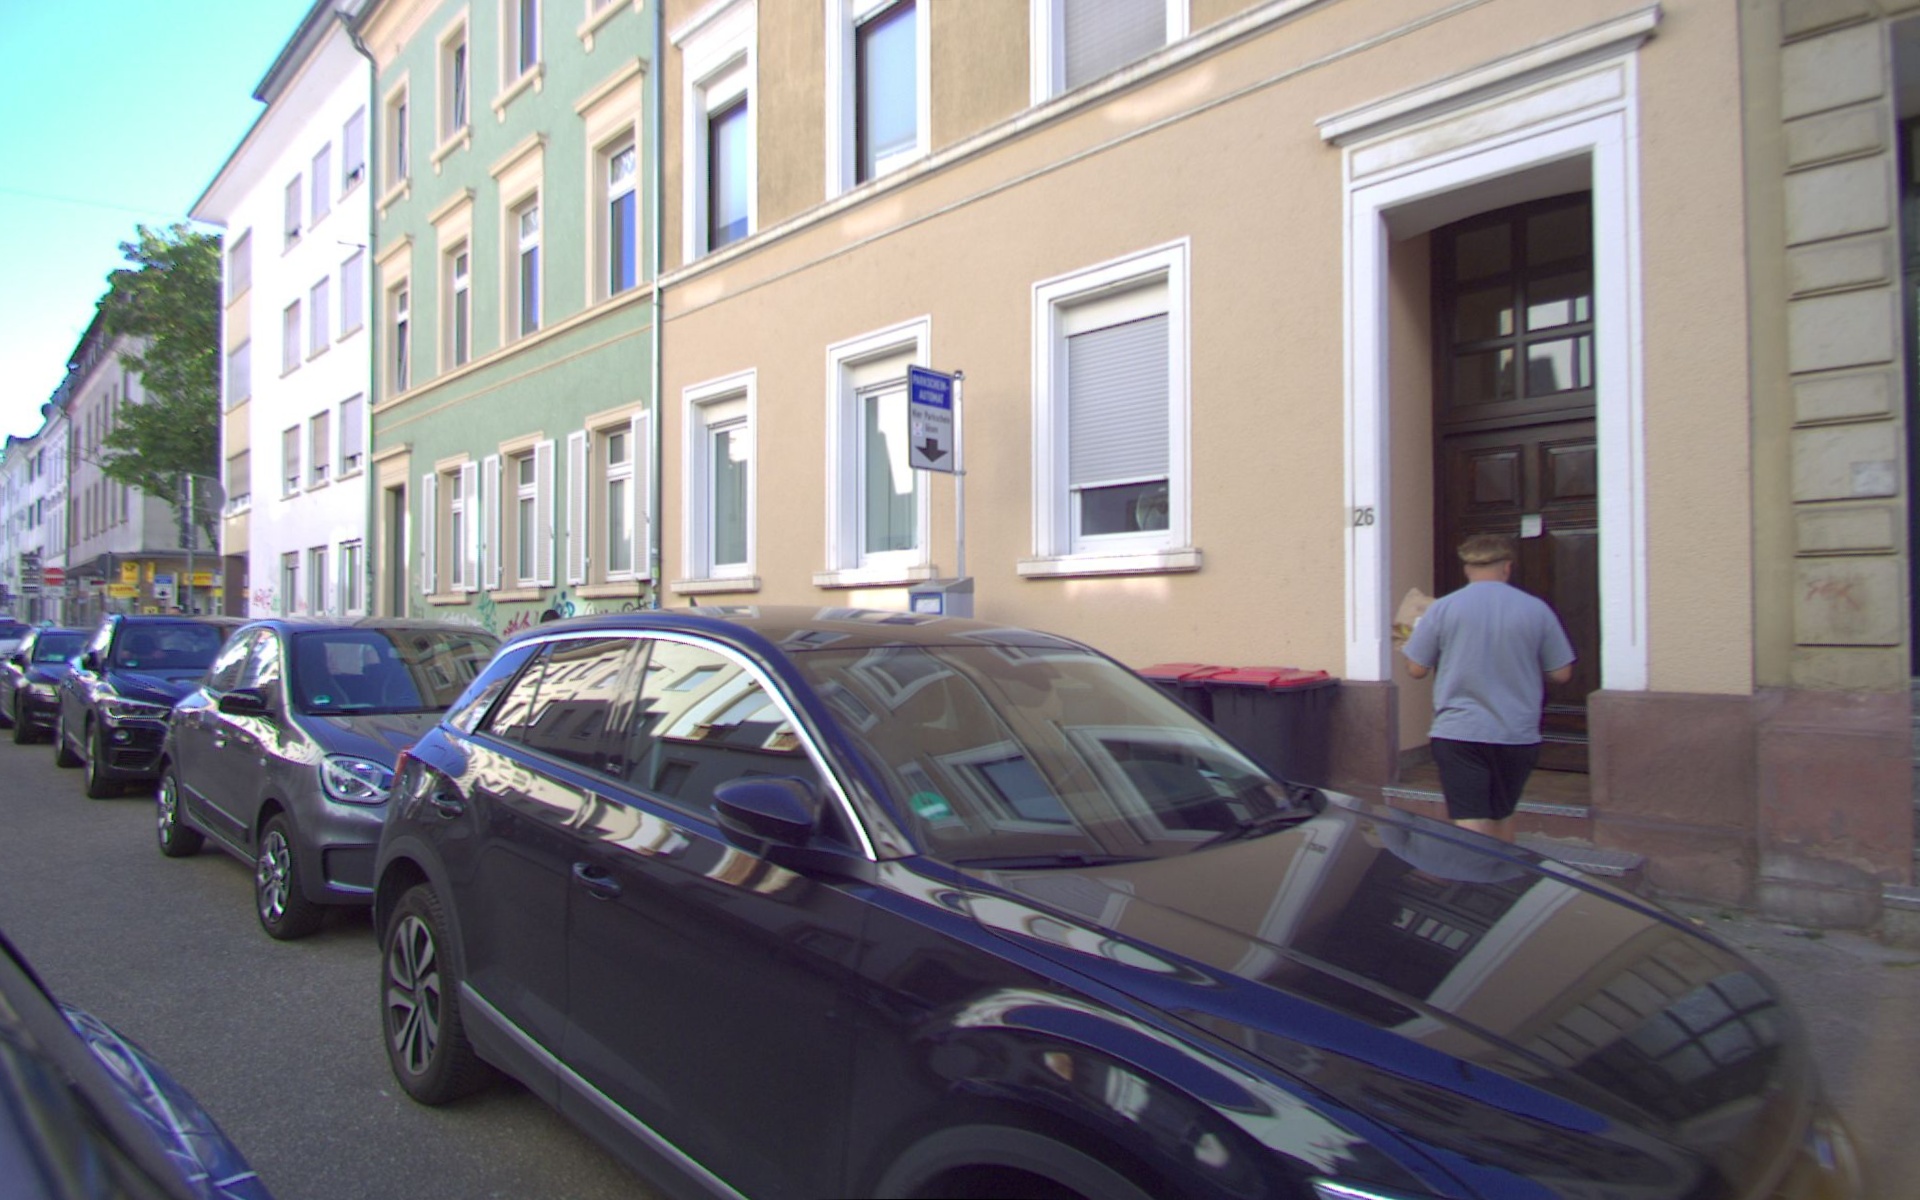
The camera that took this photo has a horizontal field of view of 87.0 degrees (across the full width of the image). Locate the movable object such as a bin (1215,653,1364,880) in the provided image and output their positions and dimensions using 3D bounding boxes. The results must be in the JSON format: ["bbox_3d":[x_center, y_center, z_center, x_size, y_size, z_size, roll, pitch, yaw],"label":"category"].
[{"bbox_3d":[1.854,0.881,5.679,0.584,1.140,0.712,-1,-2,39],"label":"movable object such as a bin"}]

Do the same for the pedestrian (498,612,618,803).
[{"bbox_3d":[-3.881,0.983,9.769,0.883,1.727,0.756,-1,-1,42],"label":"pedestrian"}]

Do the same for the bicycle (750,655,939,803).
[{"bbox_3d":[-0.998,1.015,8.409,1.835,1.064,0.398,-1,-2,40],"label":"bicycle"}]

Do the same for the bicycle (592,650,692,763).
[{"bbox_3d":[-3.407,1.081,10.737,0.356,1.036,1.921,1,-2,-38],"label":"bicycle"}]

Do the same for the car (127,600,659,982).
[{"bbox_3d":[-3.604,0.842,6.098,3.977,1.565,1.598,-2,-2,42],"label":"car"}]

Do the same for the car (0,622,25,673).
[{"bbox_3d":[-37.584,1.810,38.987,4.807,1.913,1.748,-2,-4,42],"label":"car"}]

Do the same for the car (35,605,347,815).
[{"bbox_3d":[-7.807,0.952,10.089,4.603,1.627,1.724,-2,-4,44],"label":"car"}]

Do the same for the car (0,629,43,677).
[{"bbox_3d":[-32.903,1.800,34.890,3.723,1.572,1.649,-2,-2,44],"label":"car"}]

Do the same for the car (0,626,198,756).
[{"bbox_3d":[-12.182,1.151,13.982,4.851,1.500,1.695,-1,-5,42],"label":"car"}]

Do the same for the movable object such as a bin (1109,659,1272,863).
[{"bbox_3d":[1.389,0.918,6.089,0.682,1.097,0.728,-3,-3,39],"label":"movable object such as a bin"}]

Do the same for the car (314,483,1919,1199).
[{"bbox_3d":[-0.188,0.757,2.771,4.368,1.543,1.694,-2,-3,44],"label":"car"}]

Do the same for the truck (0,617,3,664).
[{"bbox_3d":[-50.282,1.973,50.839,6.338,2.326,2.144,-1,-3,37],"label":"truck"}]

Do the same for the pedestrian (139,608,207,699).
[{"bbox_3d":[-16.524,1.101,21.236,1.245,1.846,0.901,-1,-2,43],"label":"pedestrian"}]

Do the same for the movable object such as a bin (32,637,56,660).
[{"bbox_3d":[-45.852,2.419,50.662,0.695,1.080,0.778,-1,-2,39],"label":"movable object such as a bin"}]

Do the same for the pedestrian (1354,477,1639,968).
[{"bbox_3d":[2.349,0.470,4.443,0.856,1.850,0.884,2,-2,-44],"label":"pedestrian"}]
